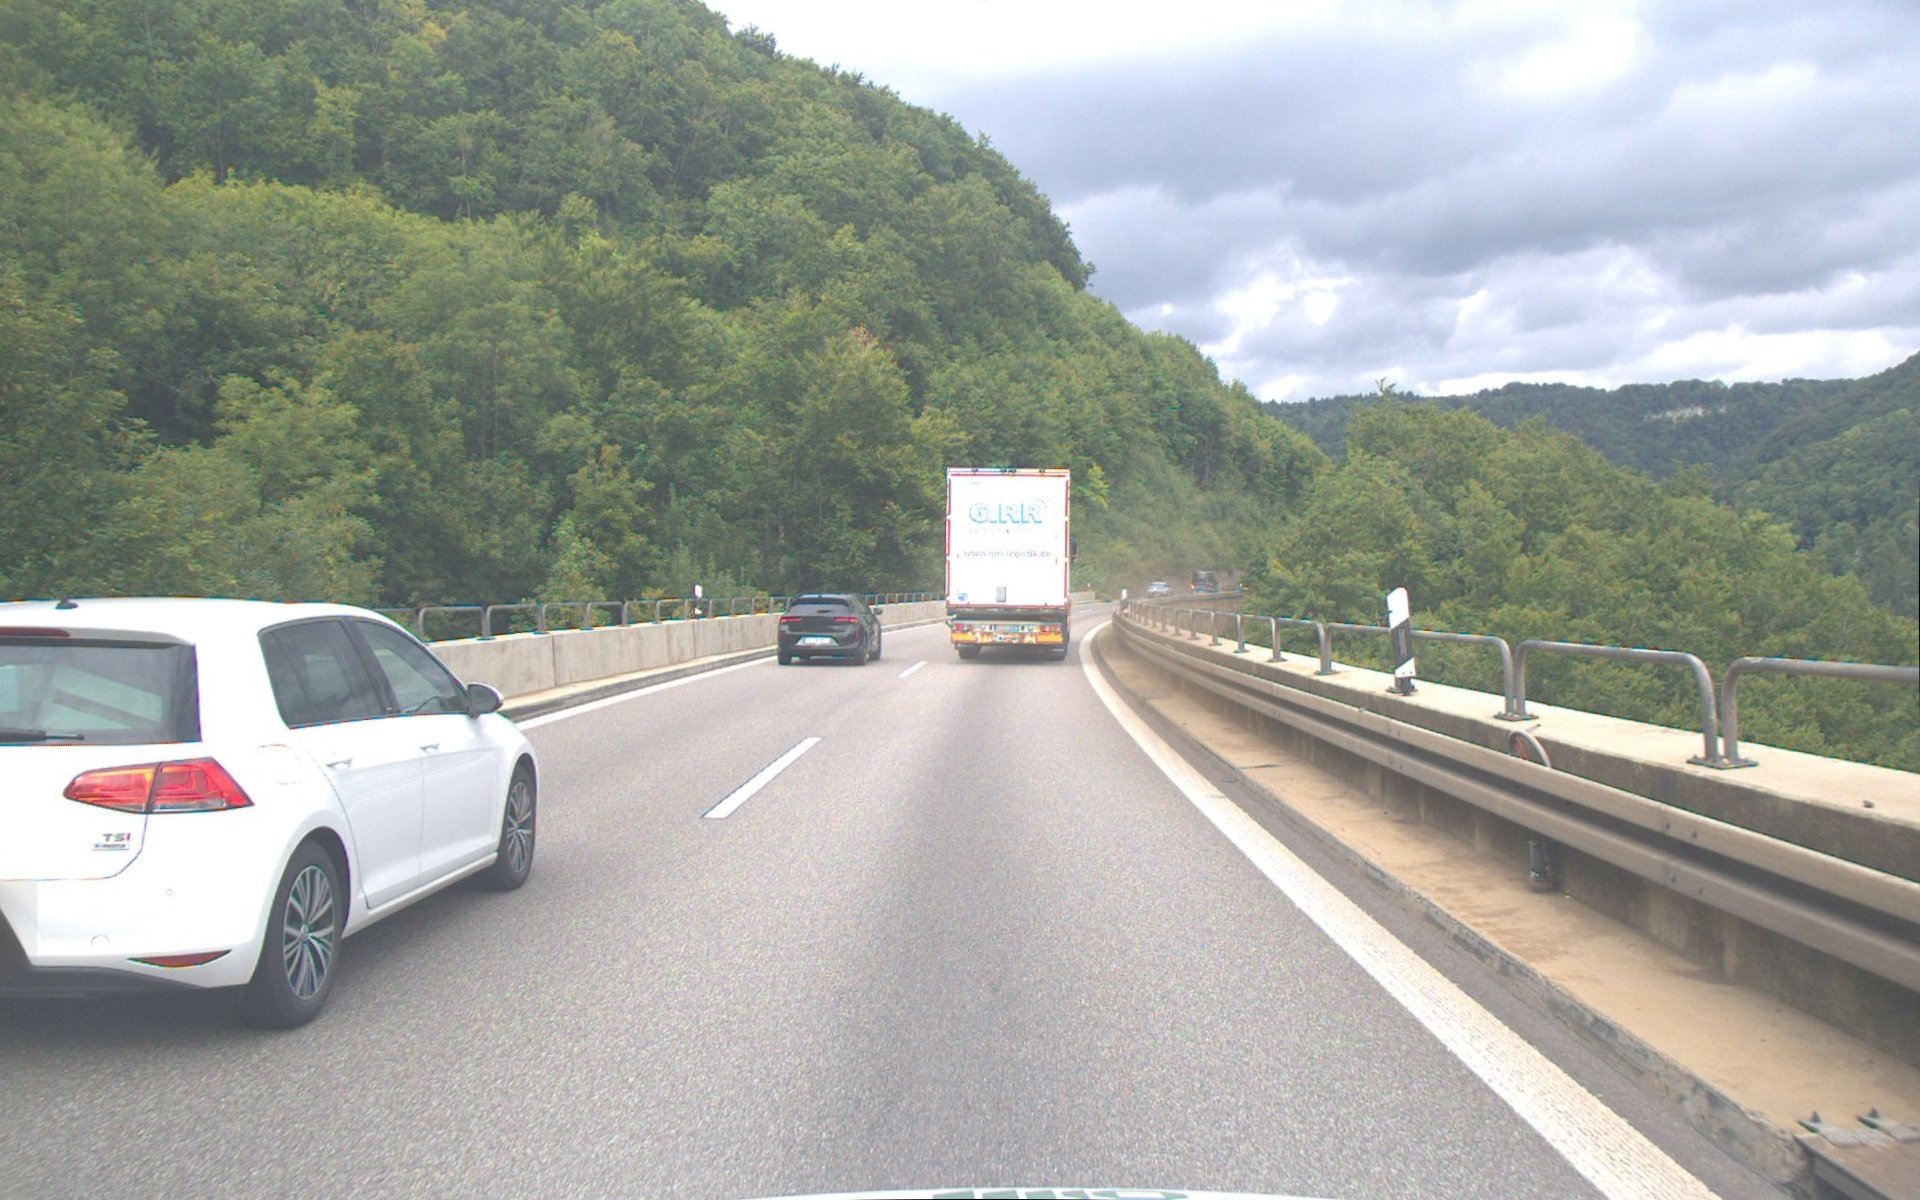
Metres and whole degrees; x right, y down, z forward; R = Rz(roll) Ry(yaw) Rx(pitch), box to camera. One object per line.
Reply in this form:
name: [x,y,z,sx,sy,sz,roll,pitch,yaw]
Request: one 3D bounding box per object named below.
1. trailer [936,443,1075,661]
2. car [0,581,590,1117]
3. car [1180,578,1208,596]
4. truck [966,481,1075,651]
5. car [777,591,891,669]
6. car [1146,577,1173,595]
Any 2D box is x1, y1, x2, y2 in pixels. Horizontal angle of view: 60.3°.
trailer: [1.333,-0.917,39.532,2.754,4.378,12.250,-1,-1,4]
car: [-3.019,0.688,6.985,1.807,1.507,4.628,1,0,1]
car: [22.241,-1.224,157.071,1.952,1.593,4.001,-1,-1,18]
truck: [1.775,-0.853,45.984,2.754,4.378,6.261,-1,-1,4]
car: [-2.531,0.581,34.158,1.736,1.486,4.583,0,0,3]
car: [18.412,-1.278,152.661,1.951,1.593,4.003,0,-1,14]
